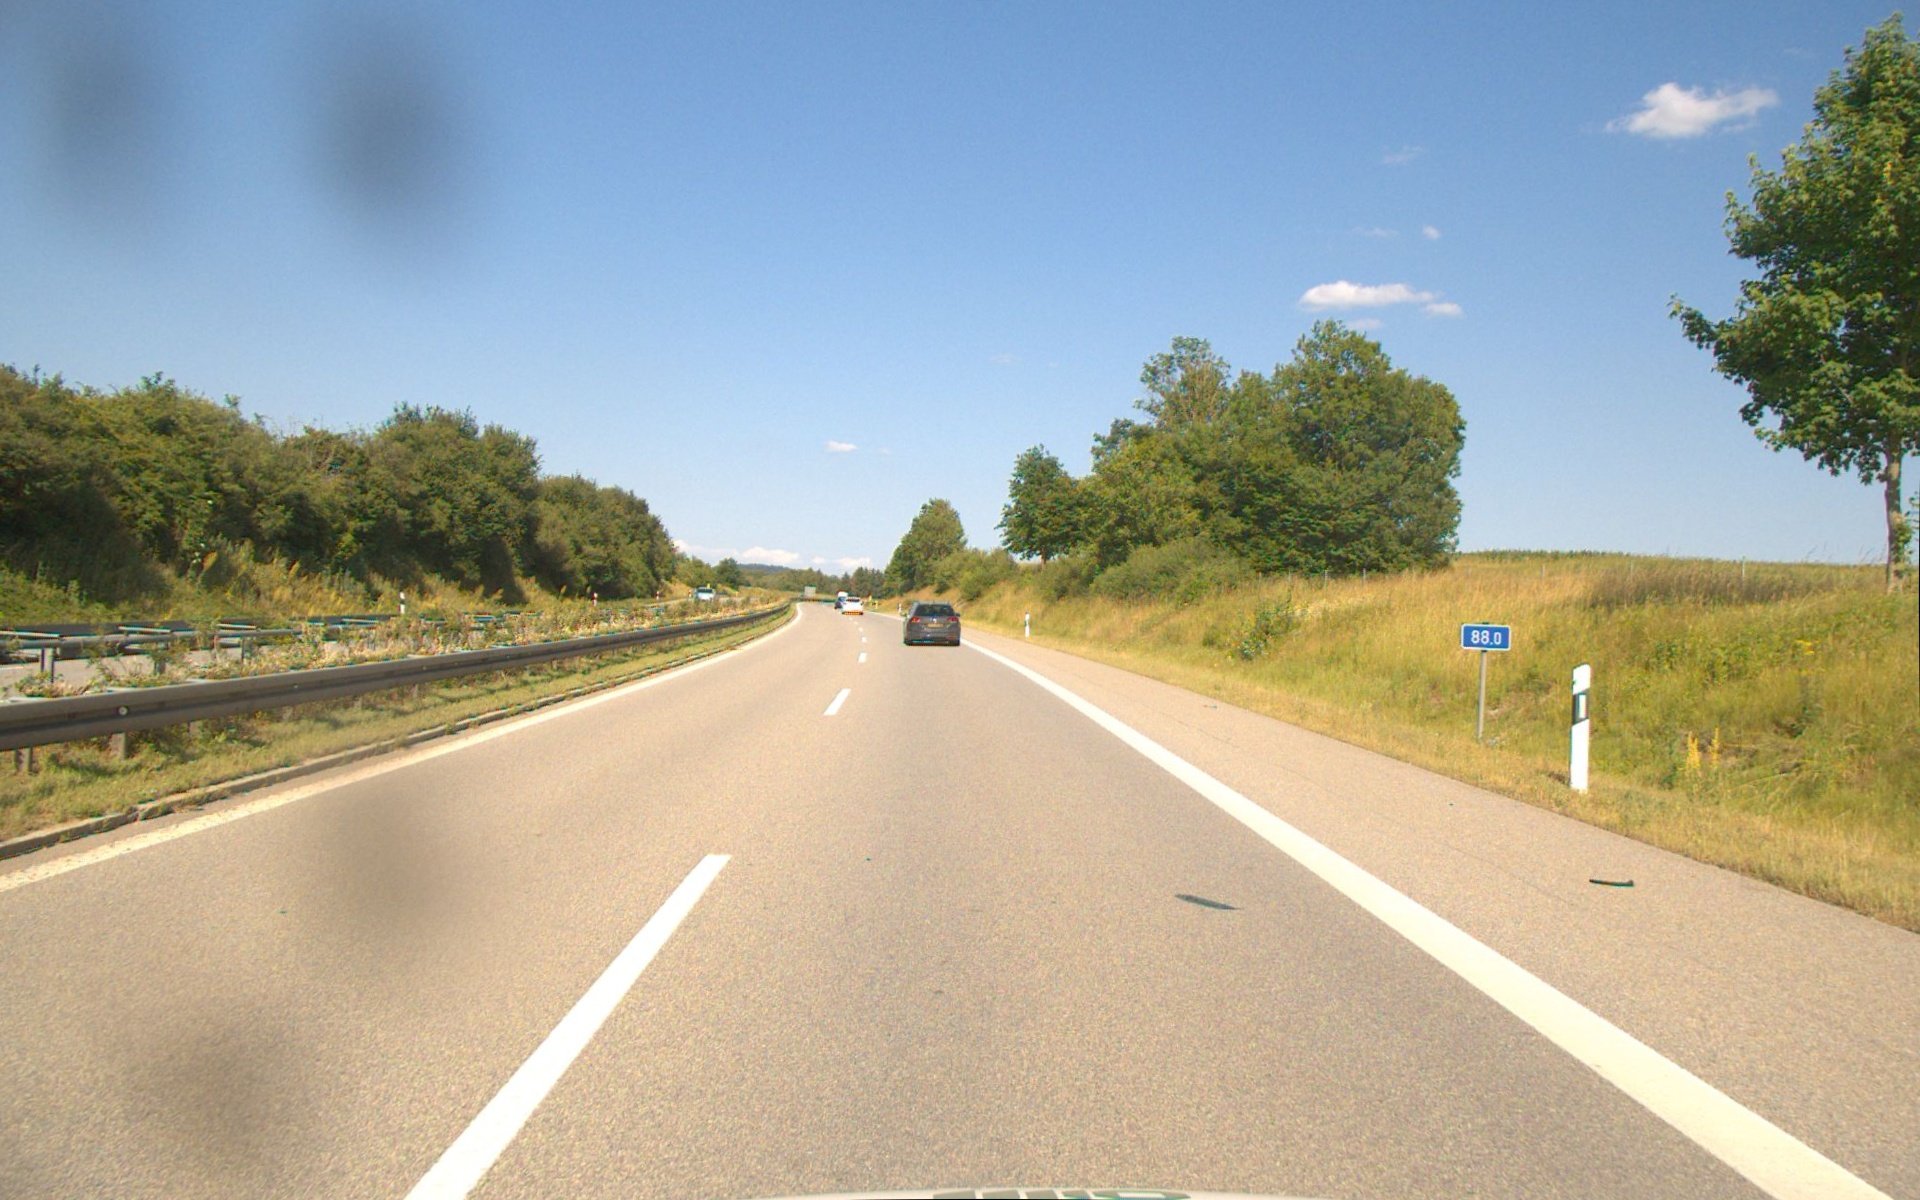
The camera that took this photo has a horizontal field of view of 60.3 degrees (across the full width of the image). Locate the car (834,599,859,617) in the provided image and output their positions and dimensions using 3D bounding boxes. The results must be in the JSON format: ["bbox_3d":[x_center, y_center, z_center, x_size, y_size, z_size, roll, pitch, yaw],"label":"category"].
[{"bbox_3d":[-9.476,0.708,138.137,1.968,1.368,3.996,4,-1,-4],"label":"car"}]

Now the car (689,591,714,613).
[{"bbox_3d":[-24.725,0.219,158.272,1.954,2.049,4.851,1,0,-4],"label":"car"}]

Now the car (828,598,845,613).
[{"bbox_3d":[-14.283,0.629,190.955,1.677,1.411,3.353,6,-2,-2],"label":"car"}]

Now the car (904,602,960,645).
[{"bbox_3d":[-0.948,0.750,54.674,1.755,1.368,3.998,0,0,-2],"label":"car"}]
